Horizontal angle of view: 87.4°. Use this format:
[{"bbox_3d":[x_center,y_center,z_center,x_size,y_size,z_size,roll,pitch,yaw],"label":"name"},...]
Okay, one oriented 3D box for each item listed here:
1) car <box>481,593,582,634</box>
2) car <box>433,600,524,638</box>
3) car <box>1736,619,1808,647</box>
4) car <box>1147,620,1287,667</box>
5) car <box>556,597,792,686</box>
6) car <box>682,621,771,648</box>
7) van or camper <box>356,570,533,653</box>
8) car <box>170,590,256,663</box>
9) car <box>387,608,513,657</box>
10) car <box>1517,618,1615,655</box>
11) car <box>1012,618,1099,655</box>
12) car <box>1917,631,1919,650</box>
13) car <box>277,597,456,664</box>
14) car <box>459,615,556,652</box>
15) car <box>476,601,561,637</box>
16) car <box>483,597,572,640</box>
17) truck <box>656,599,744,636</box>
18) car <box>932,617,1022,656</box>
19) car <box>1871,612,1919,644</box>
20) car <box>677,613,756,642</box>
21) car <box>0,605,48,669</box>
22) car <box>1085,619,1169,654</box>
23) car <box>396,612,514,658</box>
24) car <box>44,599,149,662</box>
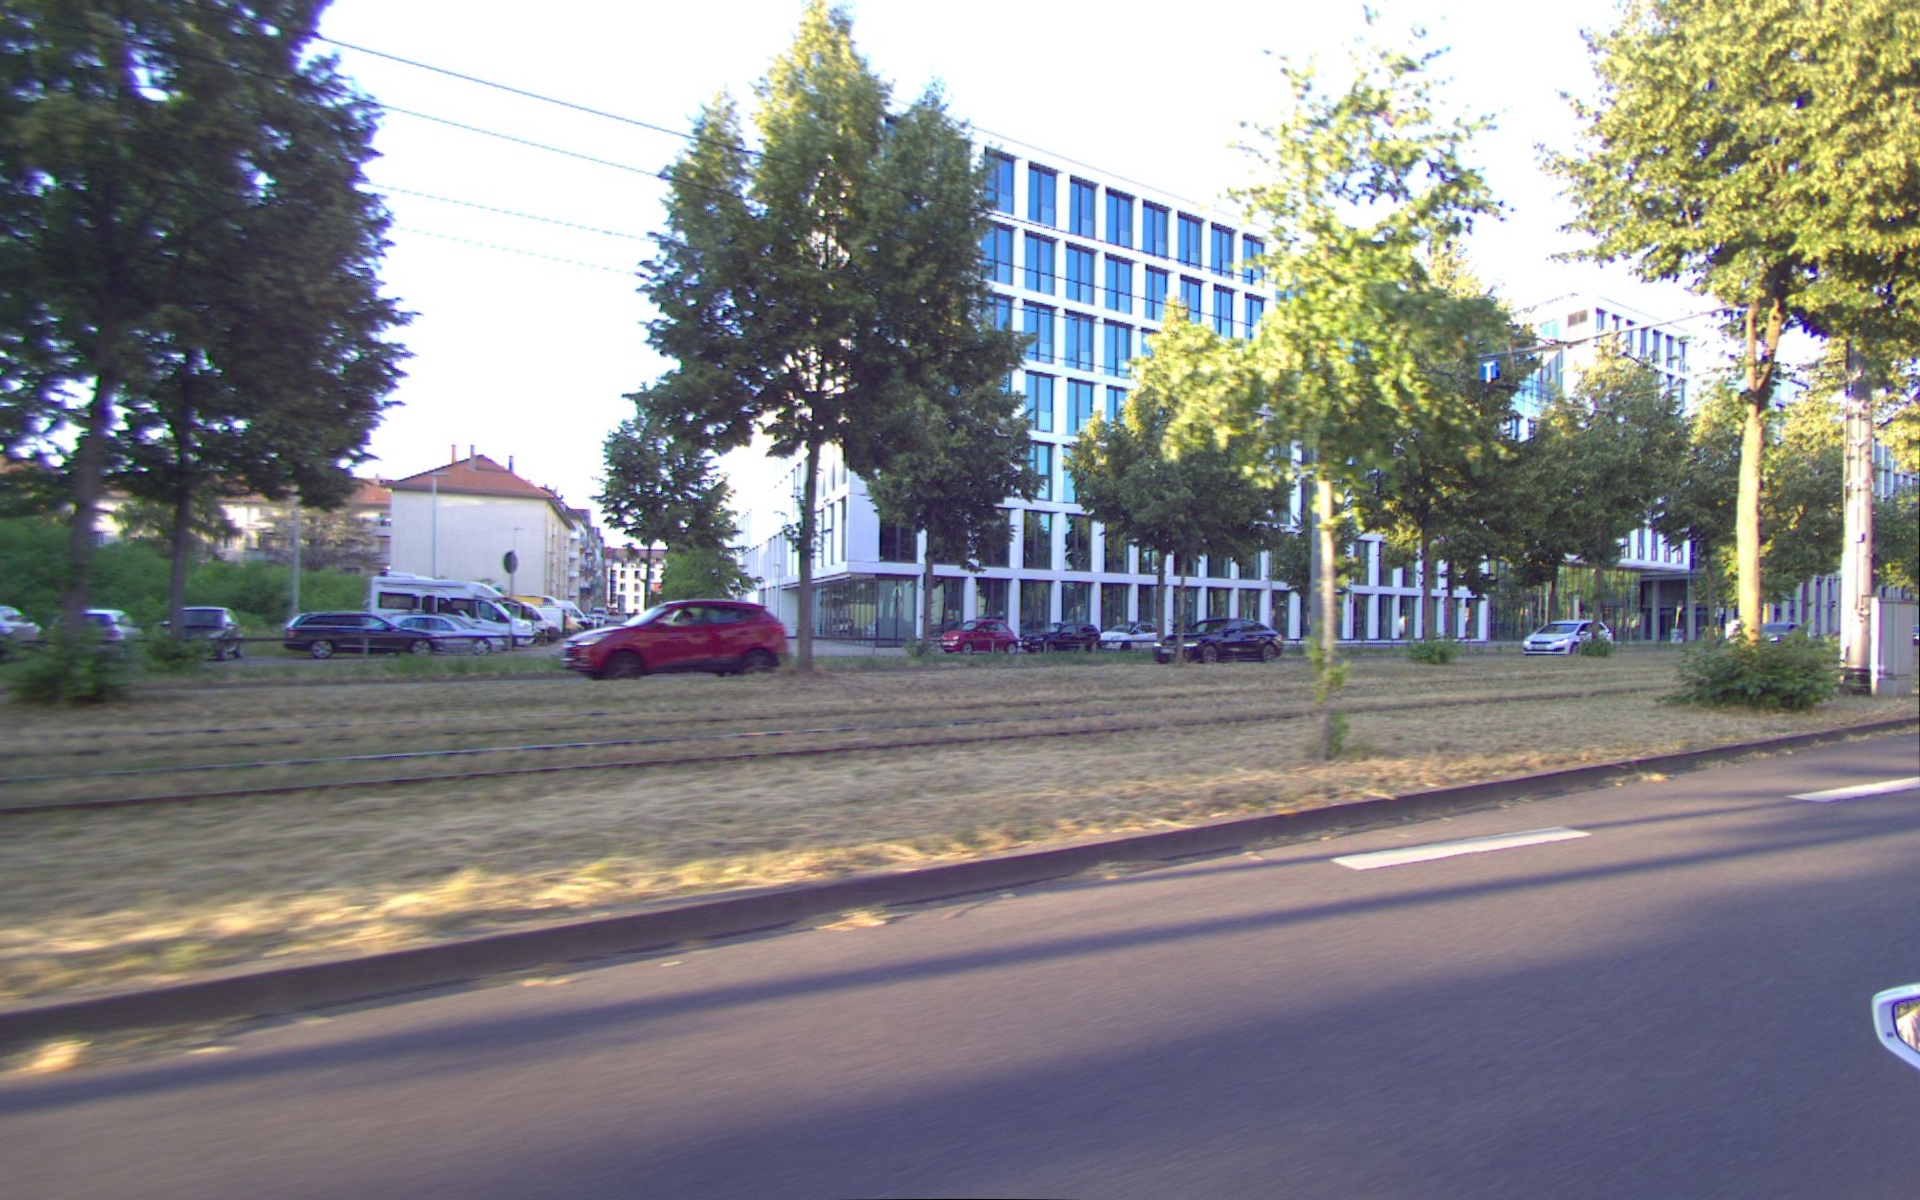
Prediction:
[{"bbox_3d":[-28.586,0.917,67.229,5.998,2.631,1.991,1,-1,-20],"label":"car"},{"bbox_3d":[-24.044,0.936,50.147,3.953,1.835,1.907,1,-1,-30],"label":"car"},{"bbox_3d":[41.702,1.669,51.563,4.694,1.350,1.646,1,-1,-35],"label":"car"},{"bbox_3d":[7.862,1.293,30.550,4.429,1.350,1.646,1,-1,-35],"label":"car"},{"bbox_3d":[-5.646,0.796,19.983,4.140,1.599,1.873,1,-1,-35],"label":"car"},{"bbox_3d":[-11.749,1.746,50.622,4.187,1.277,1.737,1,-1,-21],"label":"car"},{"bbox_3d":[-20.859,0.486,40.847,6.187,3.126,2.698,1,0,-30],"label":"van or camper"},{"bbox_3d":[-22.705,0.785,30.627,1.981,2.040,3.960,1,-1,-36],"label":"car"},{"bbox_3d":[-18.378,1.146,36.263,3.952,1.662,1.907,1,-1,-30],"label":"car"},{"bbox_3d":[23.871,1.417,39.495,4.485,1.350,1.646,1,-1,-35],"label":"car"},{"bbox_3d":[4.361,1.657,45.842,3.625,1.603,1.849,1,0,-33],"label":"car"},{"bbox_3d":[78.944,3.249,81.145,4.148,1.522,1.646,1,-1,-35],"label":"car"},{"bbox_3d":[-19.305,0.972,32.781,4.881,2.040,1.981,1,-1,-34],"label":"car"},{"bbox_3d":[-21.132,1.549,46.932,3.952,1.662,1.907,1,-1,-30],"label":"car"},{"bbox_3d":[-23.431,1.003,53.289,3.953,1.835,1.907,1,-1,-30],"label":"car"},{"bbox_3d":[-24.191,1.065,56.375,4.440,2.338,2.097,1,-1,-22],"label":"car"},{"bbox_3d":[-17.357,1.198,67.152,5.492,2.414,1.989,1,-1,-23],"label":"truck"},{"bbox_3d":[0.753,1.559,43.240,3.454,1.603,1.849,1,0,-33],"label":"car"},{"bbox_3d":[60.999,1.799,65.133,3.959,2.040,1.981,1,-1,-34],"label":"car"},{"bbox_3d":[-14.039,1.583,57.912,4.215,1.610,1.760,1,-1,-22],"label":"car"},{"bbox_3d":[-26.587,0.959,27.517,1.904,1.662,3.959,1,-1,-36],"label":"car"},{"bbox_3d":[8.067,1.745,48.582,3.743,1.603,1.849,1,0,-33],"label":"car"},{"bbox_3d":[-19.379,1.310,38.556,3.952,1.662,1.907,1,-1,-30],"label":"car"},{"bbox_3d":[-24.525,0.838,28.652,1.904,1.662,3.959,1,-1,-36],"label":"car"}]
